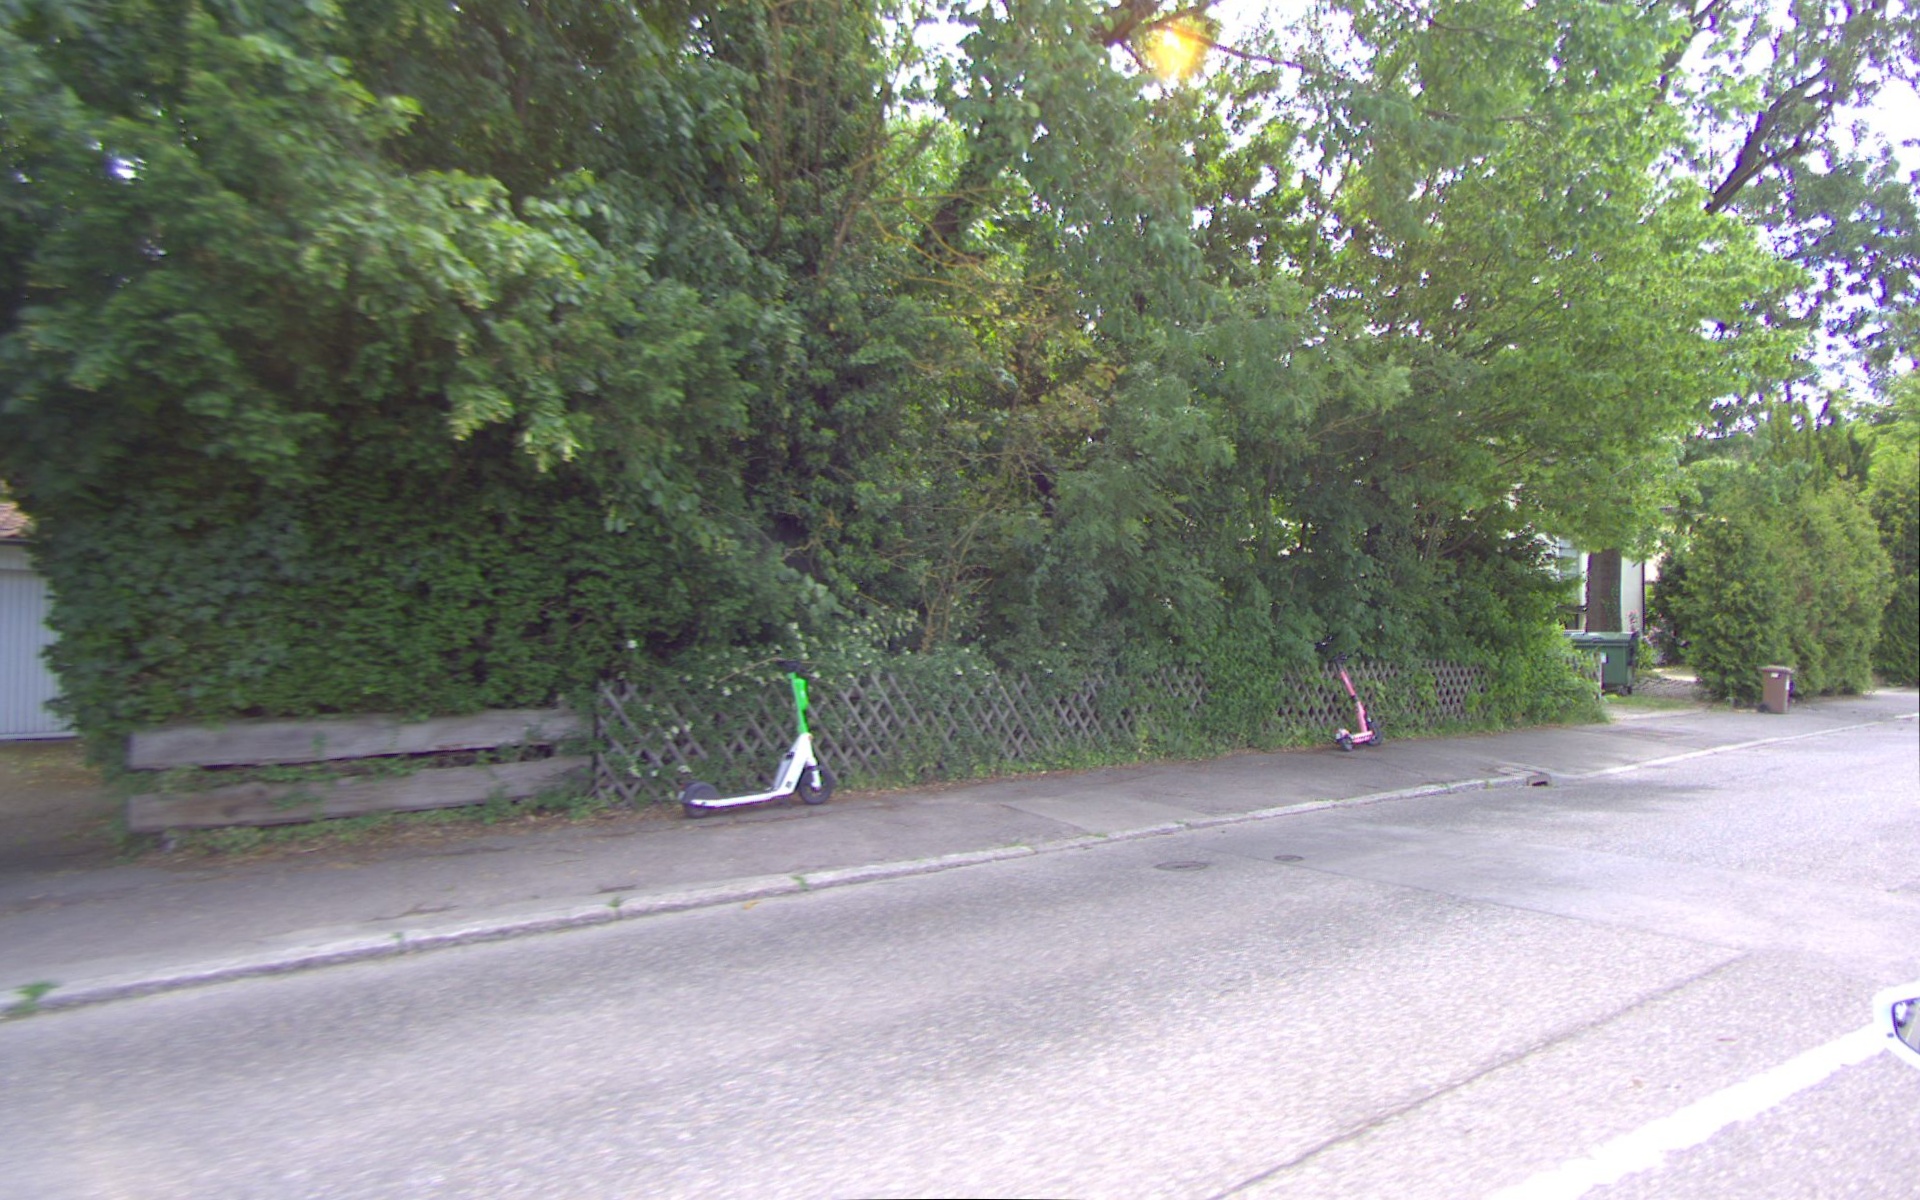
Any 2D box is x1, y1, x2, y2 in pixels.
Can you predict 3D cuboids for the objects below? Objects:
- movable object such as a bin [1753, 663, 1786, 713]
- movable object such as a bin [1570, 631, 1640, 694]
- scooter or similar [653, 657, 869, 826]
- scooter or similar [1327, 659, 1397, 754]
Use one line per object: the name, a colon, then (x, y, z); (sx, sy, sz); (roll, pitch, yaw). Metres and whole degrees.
movable object such as a bin: (16.346, 1.770, 20.278); (0.457, 0.942, 0.428); (4, 1, 41)
movable object such as a bin: (15.131, 1.445, 23.560); (1.258, 1.419, 0.894); (-1, -2, 41)
scooter or similar: (-1.538, 1.063, 7.915); (1.620, 1.215, 0.406); (2, -2, -31)
scooter or similar: (5.089, 1.316, 12.695); (0.471, 1.095, 1.208); (1, -1, 39)
